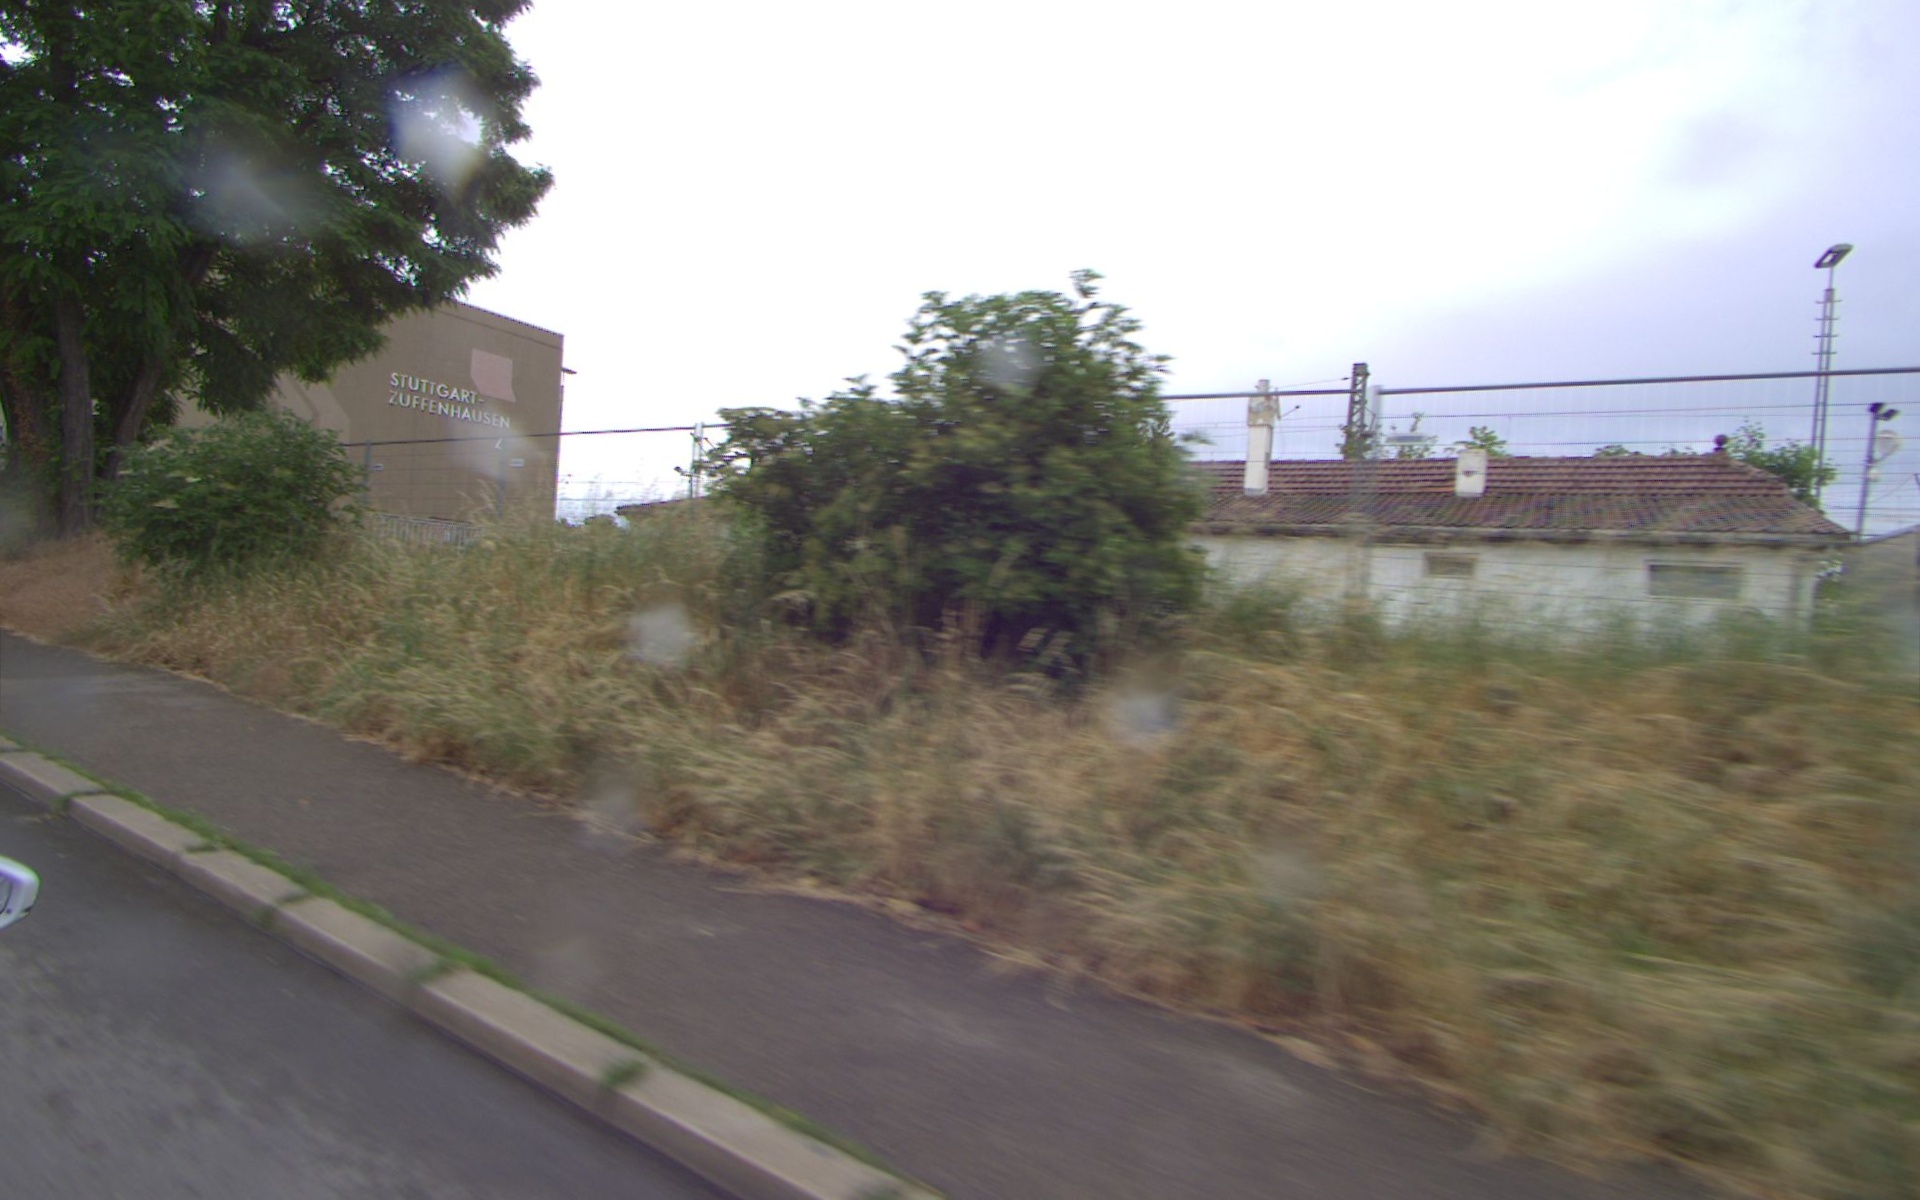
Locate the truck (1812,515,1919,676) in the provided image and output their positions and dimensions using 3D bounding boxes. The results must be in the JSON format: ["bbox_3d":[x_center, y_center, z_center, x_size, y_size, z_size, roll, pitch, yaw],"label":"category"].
[{"bbox_3d":[18.378,0.073,18.352,2.587,2.650,8.012,4,-1,29],"label":"truck"}]
